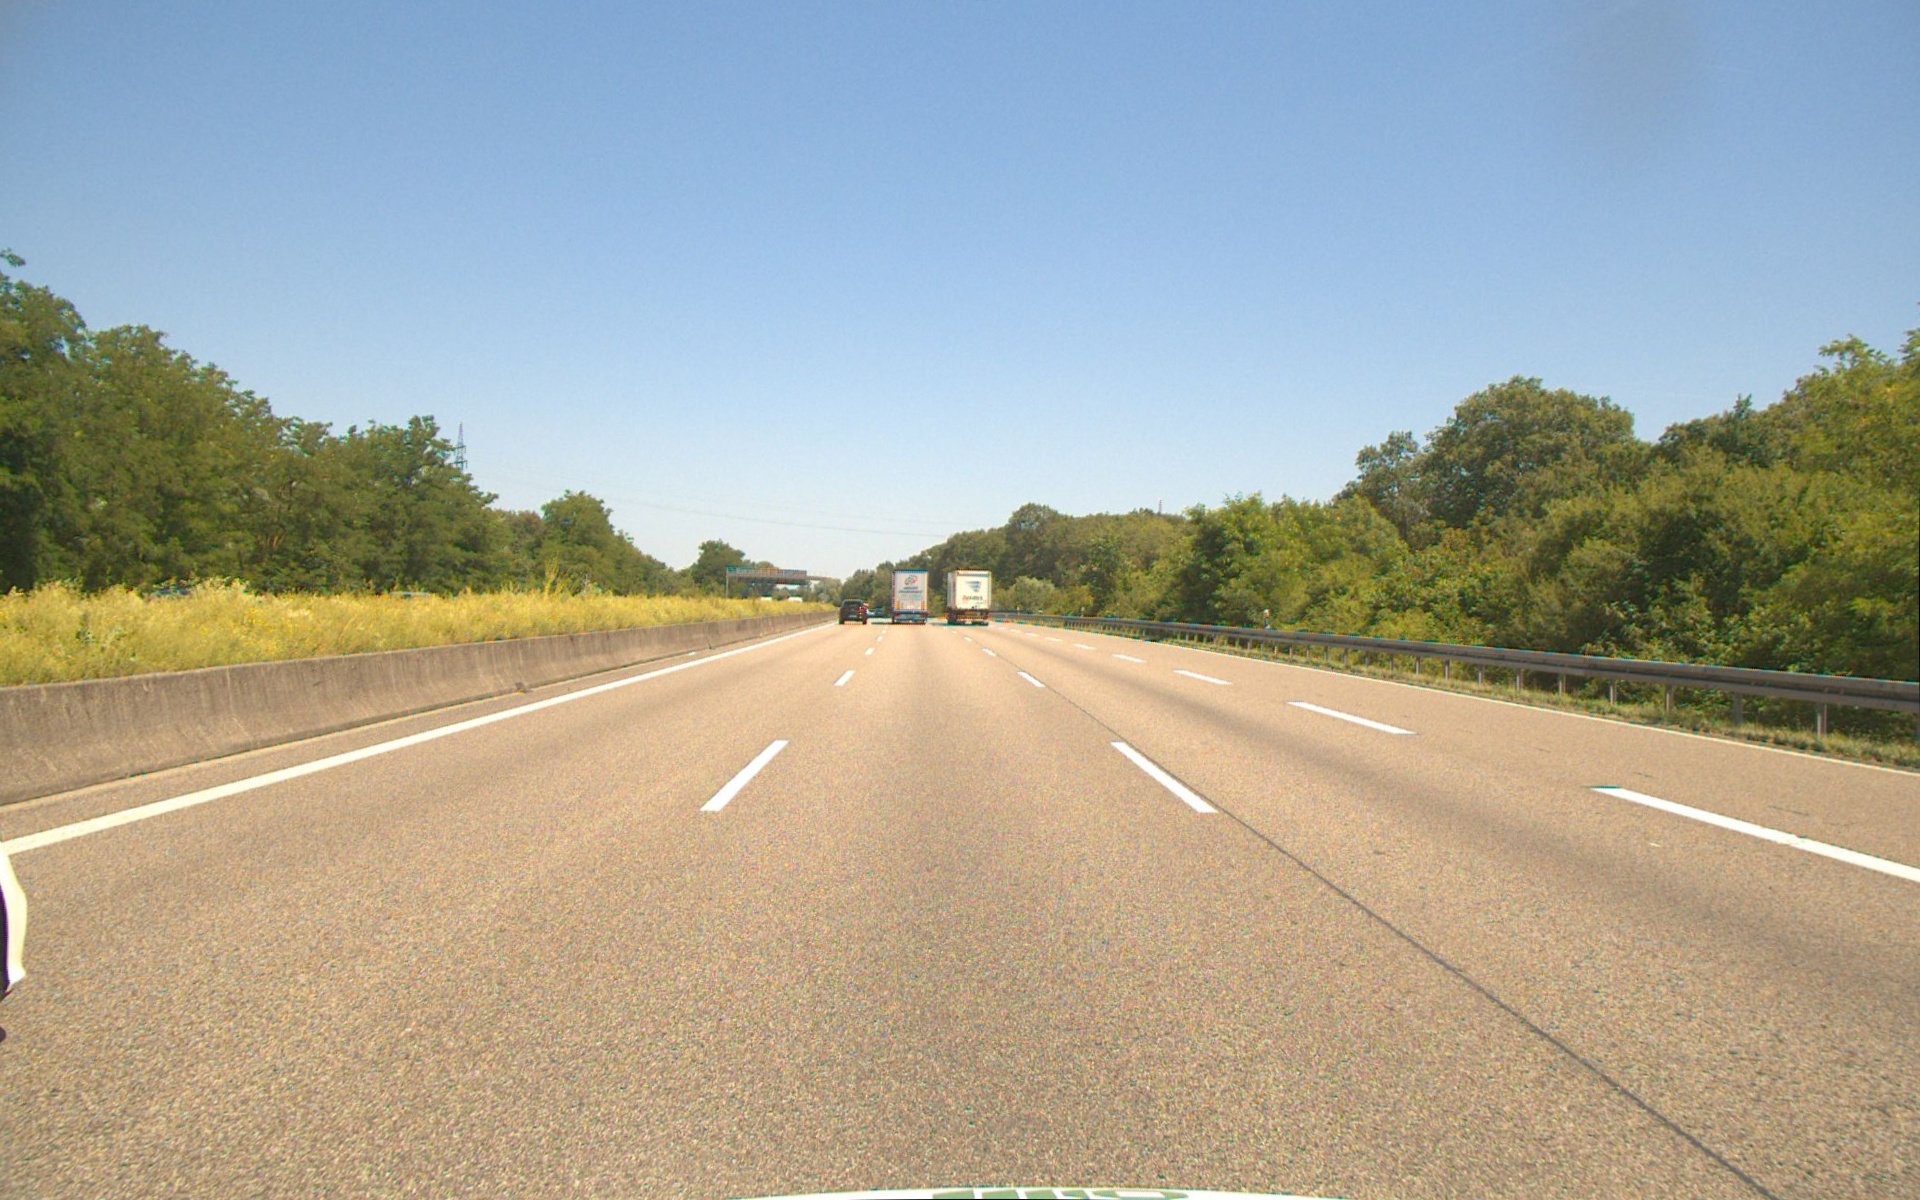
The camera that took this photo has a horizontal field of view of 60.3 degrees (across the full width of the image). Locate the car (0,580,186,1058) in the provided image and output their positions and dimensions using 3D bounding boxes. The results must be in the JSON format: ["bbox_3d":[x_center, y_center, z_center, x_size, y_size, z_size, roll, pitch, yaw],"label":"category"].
[{"bbox_3d":[-3.842,0.705,3.867,1.731,1.473,5.107,3,1,-2],"label":"car"}]

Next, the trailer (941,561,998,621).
[{"bbox_3d":[0.606,-0.690,122.094,3.302,4.215,9.082,1,1,-5],"label":"trailer"}]

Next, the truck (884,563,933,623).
[{"bbox_3d":[-3.906,-0.525,123.253,3.166,4.275,8.458,1,0,-5],"label":"truck"}]

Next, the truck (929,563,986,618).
[{"bbox_3d":[-0.258,-0.768,130.605,3.262,4.123,10.939,1,1,-6],"label":"truck"}]

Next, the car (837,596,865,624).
[{"bbox_3d":[-7.833,0.699,119.084,1.954,1.907,3.997,1,1,-4],"label":"car"}]

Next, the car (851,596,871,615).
[{"bbox_3d":[-10.639,0.533,177.233,1.955,1.907,3.996,2,1,-5],"label":"car"}]
